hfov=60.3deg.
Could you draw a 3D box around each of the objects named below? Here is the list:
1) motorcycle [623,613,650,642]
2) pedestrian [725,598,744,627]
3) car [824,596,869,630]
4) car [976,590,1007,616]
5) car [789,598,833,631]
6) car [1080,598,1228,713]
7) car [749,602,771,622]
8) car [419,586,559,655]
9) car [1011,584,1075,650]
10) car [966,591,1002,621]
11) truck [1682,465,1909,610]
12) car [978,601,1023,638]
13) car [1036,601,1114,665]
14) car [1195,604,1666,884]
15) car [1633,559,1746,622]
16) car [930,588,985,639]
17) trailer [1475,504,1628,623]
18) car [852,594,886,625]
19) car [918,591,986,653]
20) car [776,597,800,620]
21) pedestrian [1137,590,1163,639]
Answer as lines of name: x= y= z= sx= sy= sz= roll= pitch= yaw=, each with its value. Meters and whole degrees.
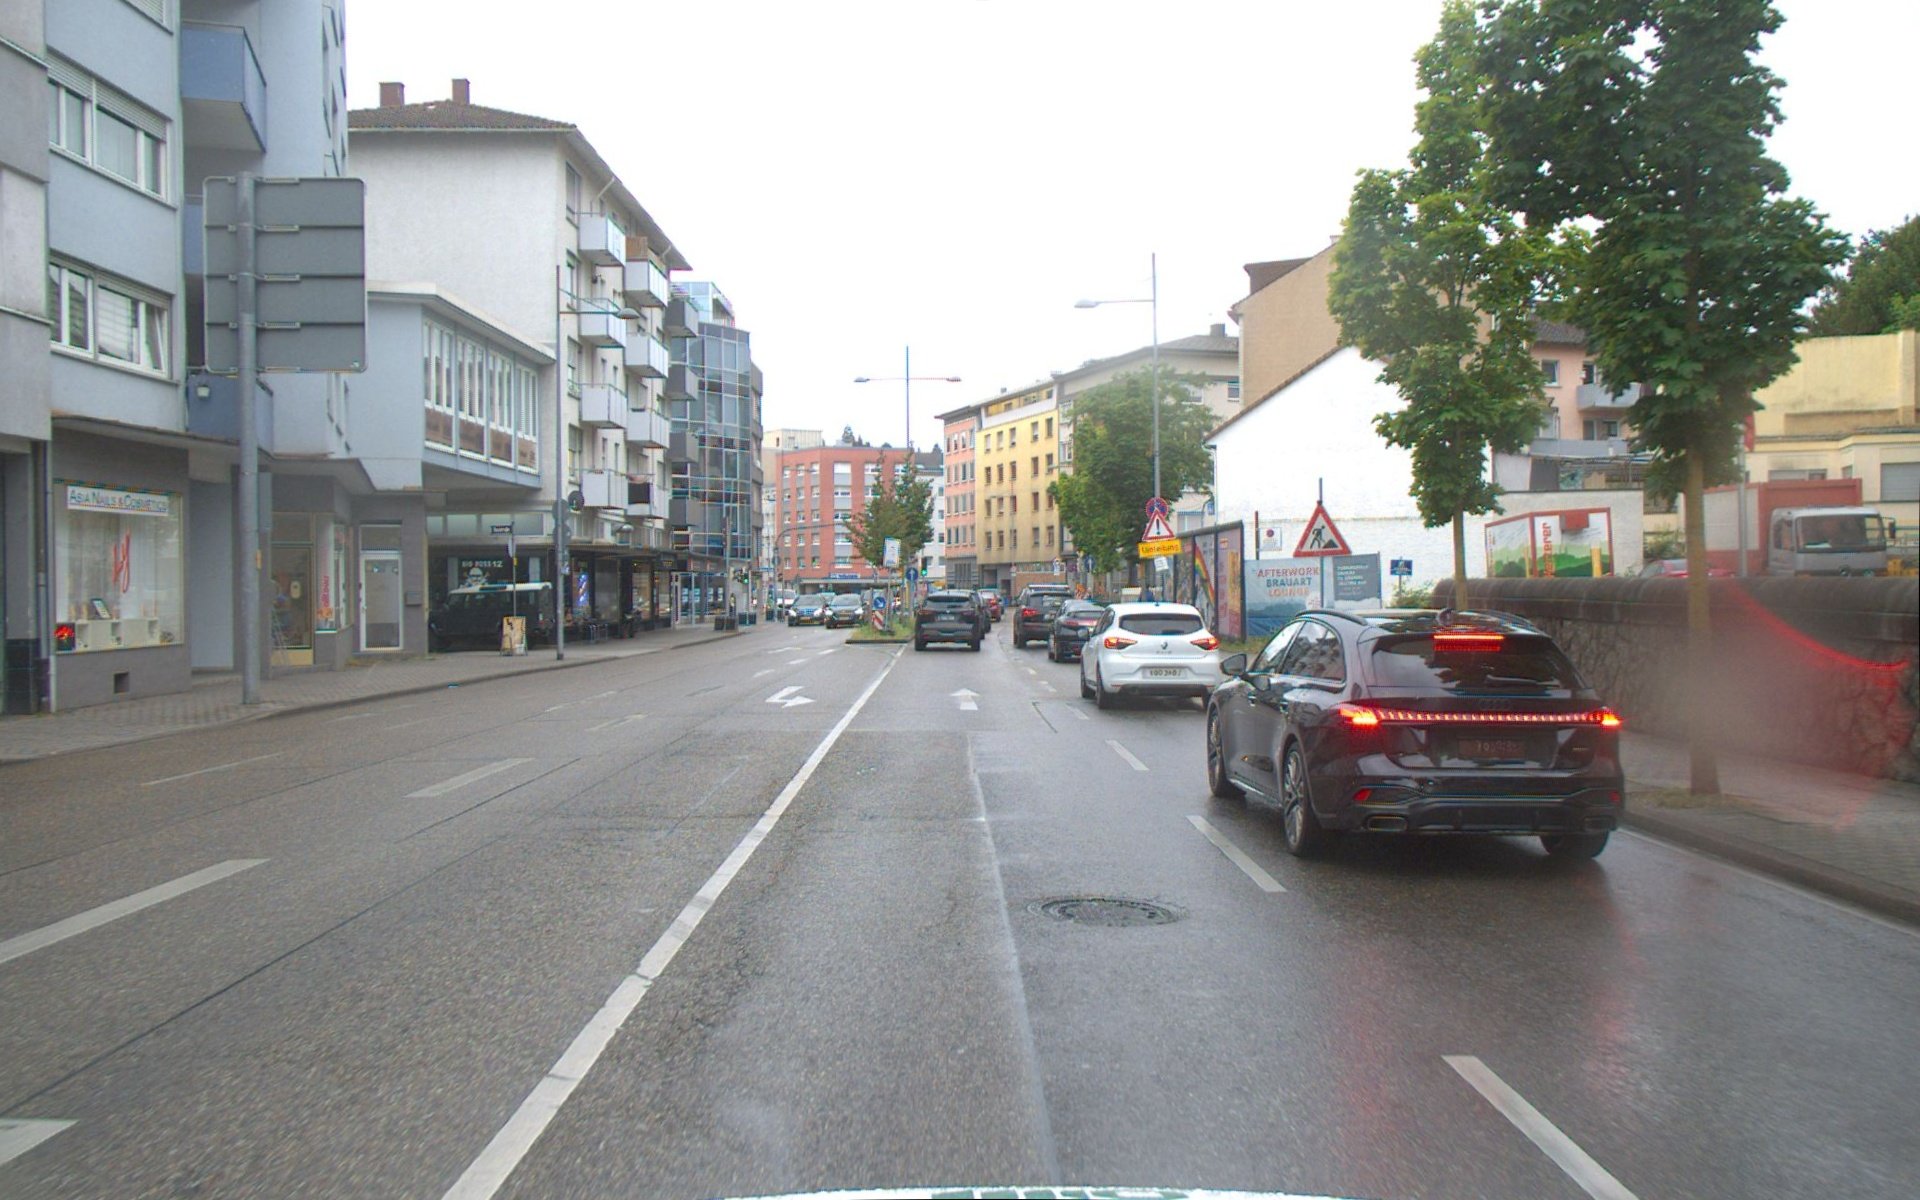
motorcycle: x=-12.031 y=1.023 z=61.498 sx=0.515 sy=1.013 sz=2.137 roll=1 pitch=0 yaw=1
pedestrian: x=-12.923 y=0.706 z=94.588 sx=0.775 sy=1.618 sz=0.753 roll=-2 pitch=0 yaw=-37
car: x=-5.211 y=0.594 z=76.317 sx=1.685 sy=1.448 sz=4.165 roll=-3 pitch=0 yaw=0
car: x=1.785 y=0.152 z=94.417 sx=1.608 sy=1.405 sz=3.347 roll=-2 pitch=0 yaw=-1
car: x=-7.467 y=0.714 z=83.112 sx=1.673 sy=1.493 sz=4.829 roll=-3 pitch=0 yaw=0
car: x=2.704 y=0.728 z=23.729 sx=1.631 sy=1.420 sz=3.867 roll=-1 pitch=1 yaw=0
car: x=-15.541 y=0.950 z=128.646 sx=1.429 sy=1.455 sz=3.361 roll=1 pitch=1 yaw=-11
car: x=-14.626 y=0.619 z=51.488 sx=3.882 sy=2.070 sz=1.580 roll=-1 pitch=0 yaw=-1
car: x=2.446 y=0.463 z=49.517 sx=1.792 sy=1.837 sz=3.720 roll=1 pitch=1 yaw=2
car: x=1.152 y=0.281 z=81.278 sx=1.608 sy=1.405 sz=3.347 roll=-2 pitch=0 yaw=-1
truck: x=21.065 y=-1.474 z=42.167 sx=2.576 sy=3.272 sz=6.933 roll=-2 pitch=0 yaw=4
car: x=1.600 y=0.756 z=65.964 sx=1.608 sy=1.405 sz=3.347 roll=-2 pitch=0 yaw=-1
car: x=2.729 y=0.745 z=39.271 sx=1.749 sy=1.424 sz=3.720 roll=0 pitch=0 yaw=4
car: x=2.829 y=0.767 z=11.094 sx=1.753 sy=1.427 sz=4.632 roll=-1 pitch=0 yaw=-1
car: x=18.409 y=-0.241 z=41.874 sx=1.556 sy=1.482 sz=3.266 roll=-2 pitch=0 yaw=4
car: x=-0.049 y=0.448 z=56.373 sx=1.786 sy=1.628 sz=3.719 roll=1 pitch=0 yaw=1
trailer: x=15.163 y=-0.920 z=42.762 sx=2.083 sy=2.763 sz=5.393 roll=-3 pitch=0 yaw=2
car: x=-5.313 y=0.567 z=96.653 sx=1.649 sy=1.690 sz=4.096 roll=-3 pitch=0 yaw=0
car: x=-0.193 y=0.587 z=46.152 sx=1.786 sy=1.628 sz=3.719 roll=1 pitch=0 yaw=1
car: x=-12.194 y=0.606 z=117.045 sx=1.521 sy=1.598 sz=3.341 roll=2 pitch=-1 yaw=-9
pedestrian: x=7.029 y=0.523 z=61.153 sx=0.774 sy=1.786 sz=0.872 roll=-2 pitch=0 yaw=13
